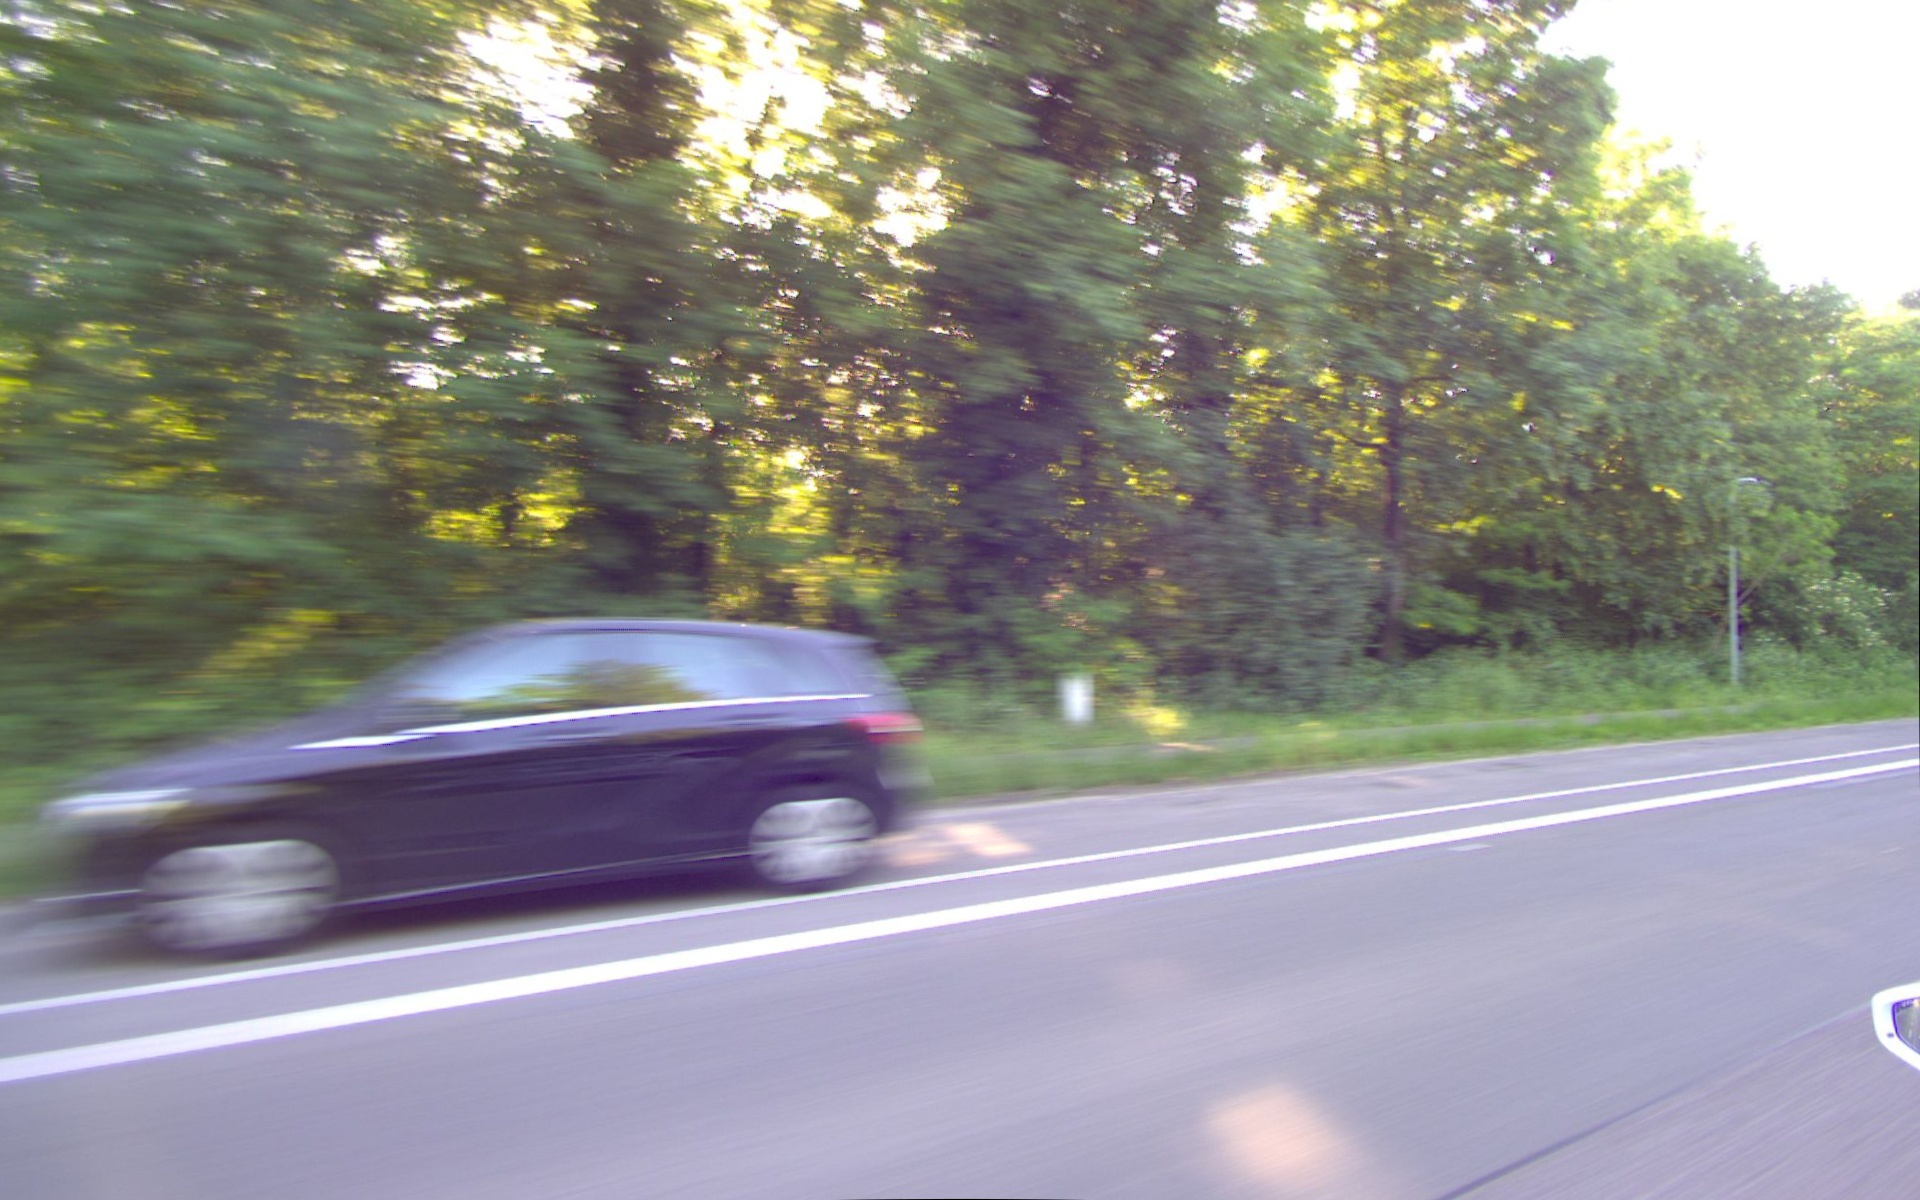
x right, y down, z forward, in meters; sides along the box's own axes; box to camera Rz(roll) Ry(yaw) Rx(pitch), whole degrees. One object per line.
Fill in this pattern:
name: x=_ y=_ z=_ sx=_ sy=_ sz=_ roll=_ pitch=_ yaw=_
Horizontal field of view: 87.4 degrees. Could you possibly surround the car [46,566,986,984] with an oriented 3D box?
car: x=-2.161 y=0.787 z=5.879 sx=4.320 sy=1.706 sz=1.775 roll=1 pitch=-2 yaw=-26
